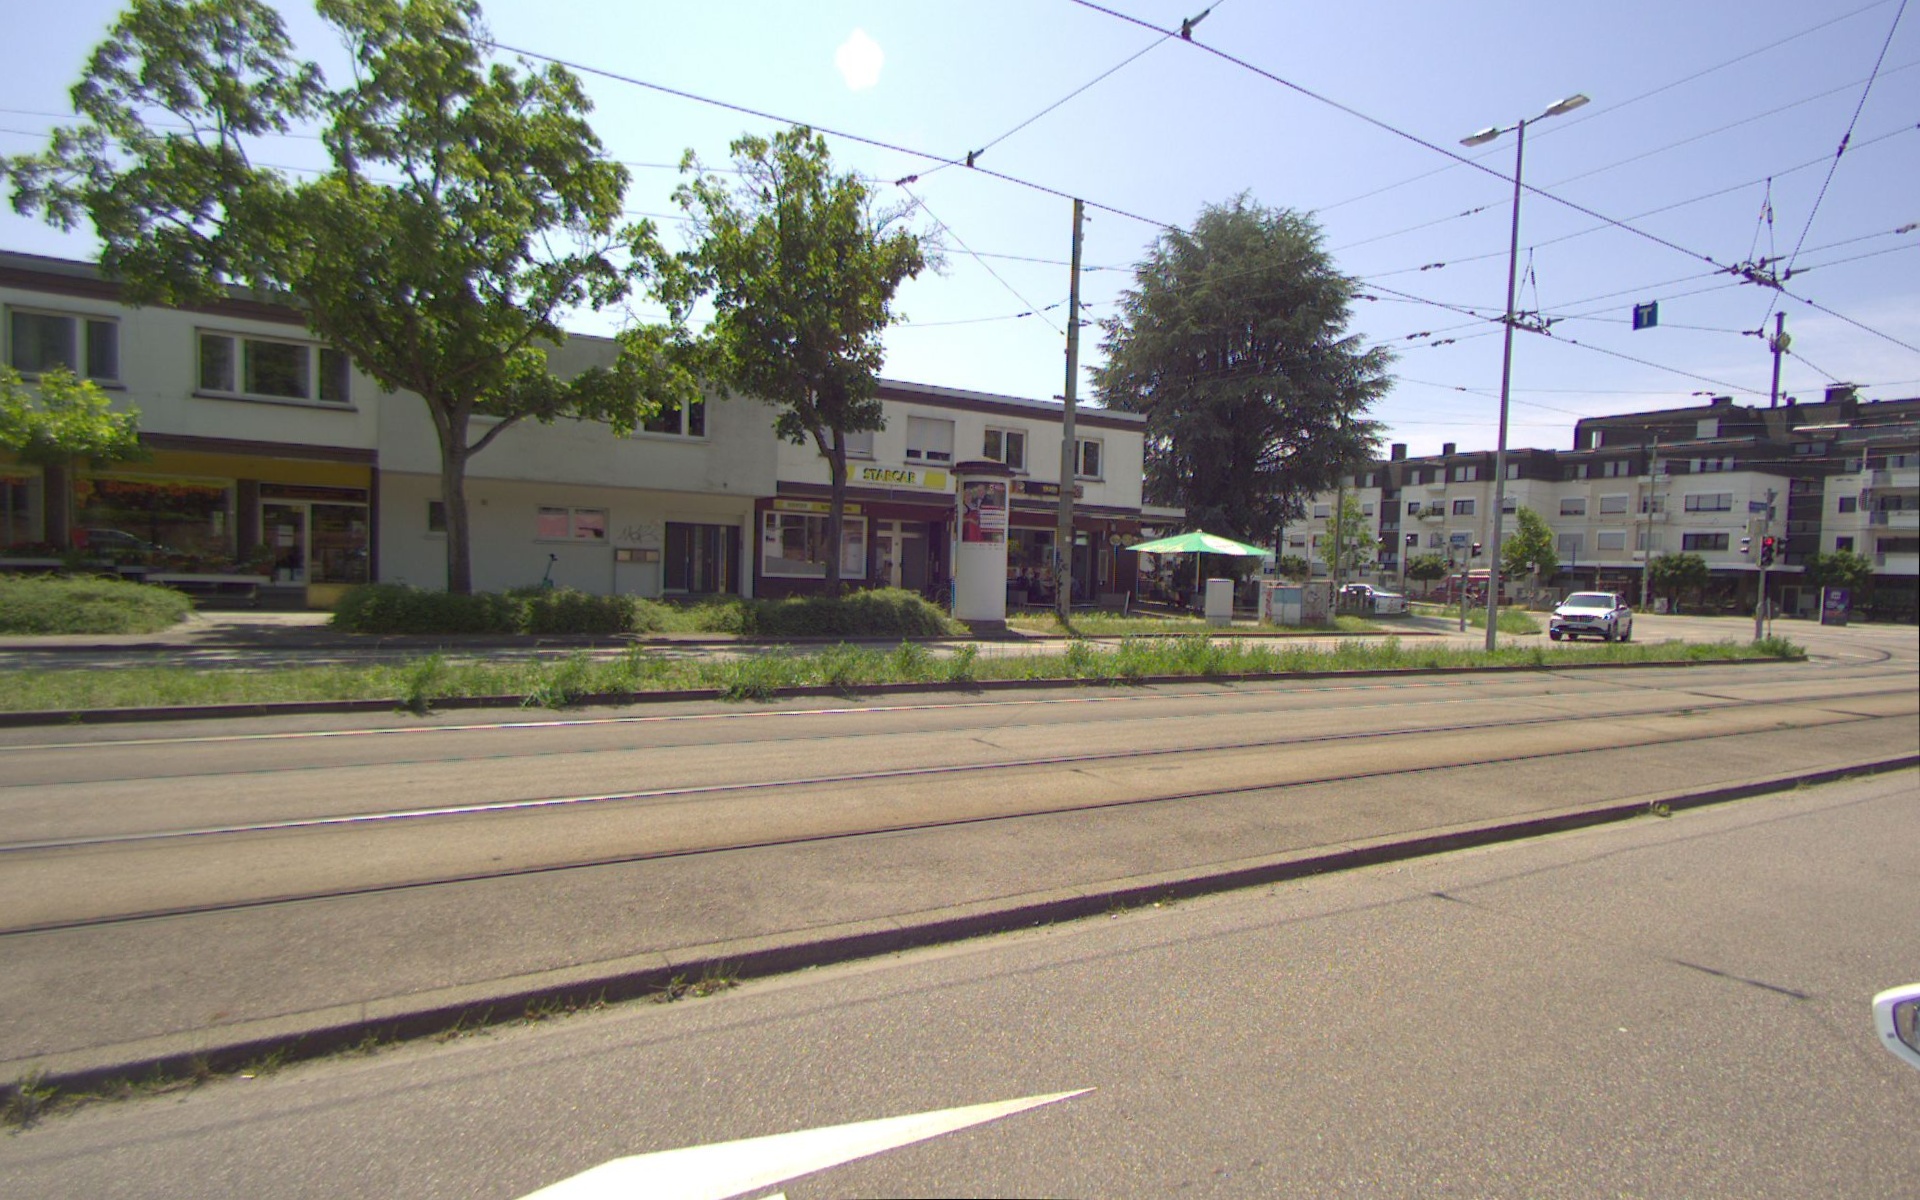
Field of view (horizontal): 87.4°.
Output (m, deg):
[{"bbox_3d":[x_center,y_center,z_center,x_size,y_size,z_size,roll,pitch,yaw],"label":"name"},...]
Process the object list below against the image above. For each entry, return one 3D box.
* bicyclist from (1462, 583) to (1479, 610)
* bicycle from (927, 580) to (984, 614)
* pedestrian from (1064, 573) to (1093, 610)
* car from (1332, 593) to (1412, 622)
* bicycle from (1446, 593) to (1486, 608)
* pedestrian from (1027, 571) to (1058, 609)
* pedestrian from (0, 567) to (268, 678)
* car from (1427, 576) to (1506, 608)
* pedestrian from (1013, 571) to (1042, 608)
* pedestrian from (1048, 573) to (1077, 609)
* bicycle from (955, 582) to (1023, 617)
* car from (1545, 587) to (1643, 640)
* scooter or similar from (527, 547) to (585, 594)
[{"bbox_3d":[28.808,-0.185,56.697,0.741,1.521,0.480,2,1,39],"label":"bicyclist"},{"bbox_3d":[-0.139,-0.078,31.284,1.738,0.992,0.536,2,0,-31],"label":"bicycle"},{"bbox_3d":[4.220,-0.296,35.815,0.832,1.285,0.586,2,0,-30],"label":"pedestrian"},{"bbox_3d":[25.211,0.439,61.552,1.923,1.605,4.105,2,0,-39],"label":"car"},{"bbox_3d":[28.650,0.049,56.862,1.956,0.794,0.464,2,0,39],"label":"bicycle"},{"bbox_3d":[2.874,-0.349,34.986,0.832,1.285,0.586,2,0,-30],"label":"pedestrian"},{"bbox_3d":[-16.435,0.450,20.216,3.954,2.040,1.983,2,0,-31],"label":"pedestrian"},{"bbox_3d":[38.922,-0.629,77.300,2.219,2.372,5.038,2,0,-31],"label":"car"},{"bbox_3d":[2.388,-0.372,35.582,0.832,1.285,0.586,2,0,-30],"label":"pedestrian"},{"bbox_3d":[3.686,-0.328,36.240,0.832,1.285,0.586,2,0,-30],"label":"pedestrian"},{"bbox_3d":[0.886,-0.009,30.354,2.006,0.992,0.607,2,0,-31],"label":"bicycle"},{"bbox_3d":[21.393,0.477,33.811,4.538,1.631,1.707,2,0,-44],"label":"car"},{"bbox_3d":[-10.711,-0.777,26.661,1.321,1.207,0.455,2,0,-10],"label":"scooter or similar"}]
